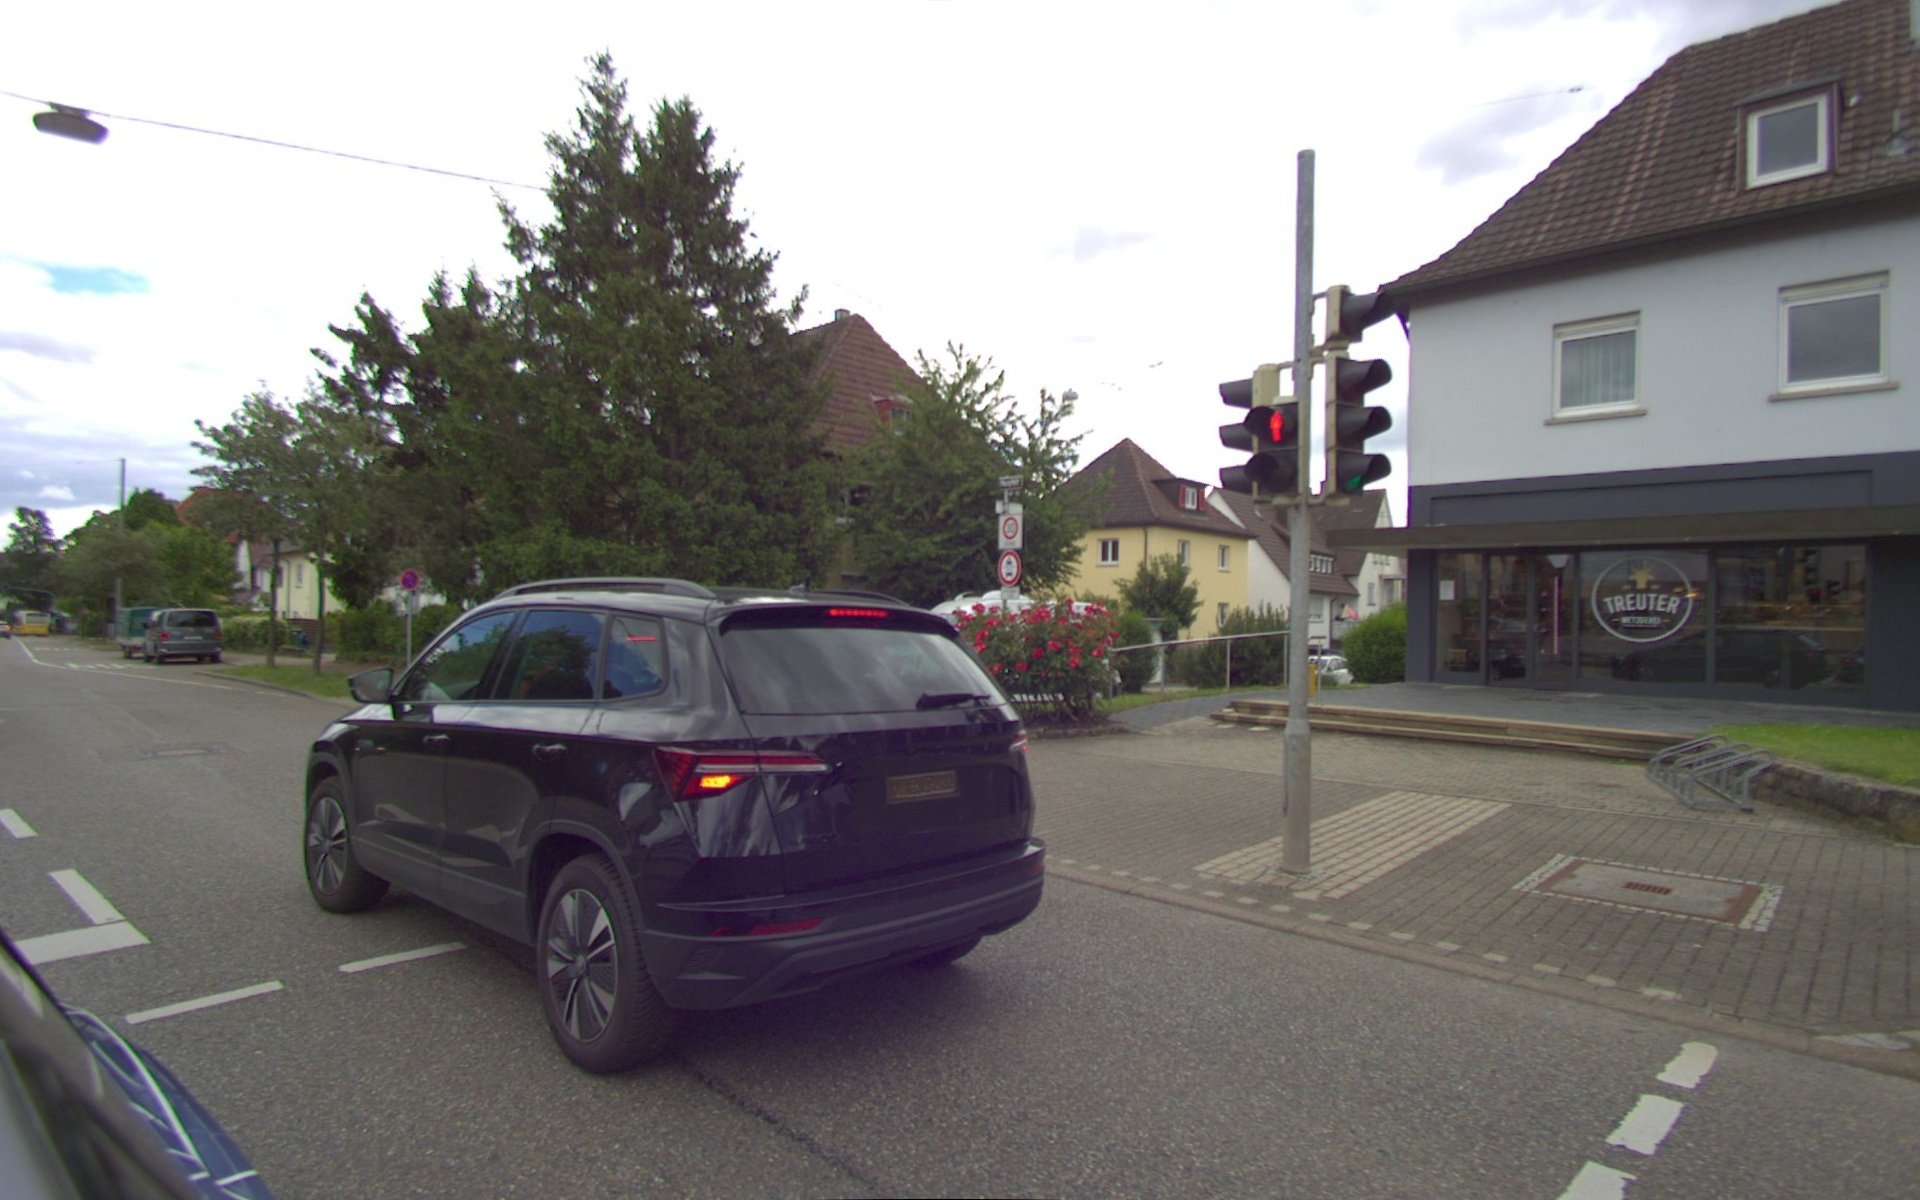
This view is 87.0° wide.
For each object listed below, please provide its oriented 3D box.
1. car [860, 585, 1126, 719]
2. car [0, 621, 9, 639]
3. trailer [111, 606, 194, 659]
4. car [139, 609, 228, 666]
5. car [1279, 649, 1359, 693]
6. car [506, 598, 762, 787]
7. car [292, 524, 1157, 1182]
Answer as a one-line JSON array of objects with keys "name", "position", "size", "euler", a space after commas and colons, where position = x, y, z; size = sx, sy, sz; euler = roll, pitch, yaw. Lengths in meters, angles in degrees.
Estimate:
[{"name": "car", "position": [0.823, 1.172, 22.027], "size": [5.529, 2.583, 2.136], "euler": [4, -3, -34]}, {"name": "car", "position": [-85.972, 2.643, 90.061], "size": [1.799, 1.616, 4.303], "euler": [5, -4, -43]}, {"name": "trailer", "position": [-33.802, 1.356, 42.323], "size": [4.427, 2.104, 2.130], "euler": [-2, -3, 45]}, {"name": "car", "position": [-28.763, 1.364, 37.418], "size": [1.970, 1.964, 4.901], "euler": [3, -3, -45]}, {"name": "car", "position": [13.683, 2.672, 38.474], "size": [1.712, 1.533, 3.406], "euler": [-1, -3, 42]}, {"name": "car", "position": [-3.288, 0.882, 11.185], "size": [1.968, 1.633, 4.656], "euler": [1, -2, -9]}, {"name": "car", "position": [-1.336, 0.713, 4.605], "size": [4.000, 1.637, 1.875], "euler": [-1, -4, 43]}]
